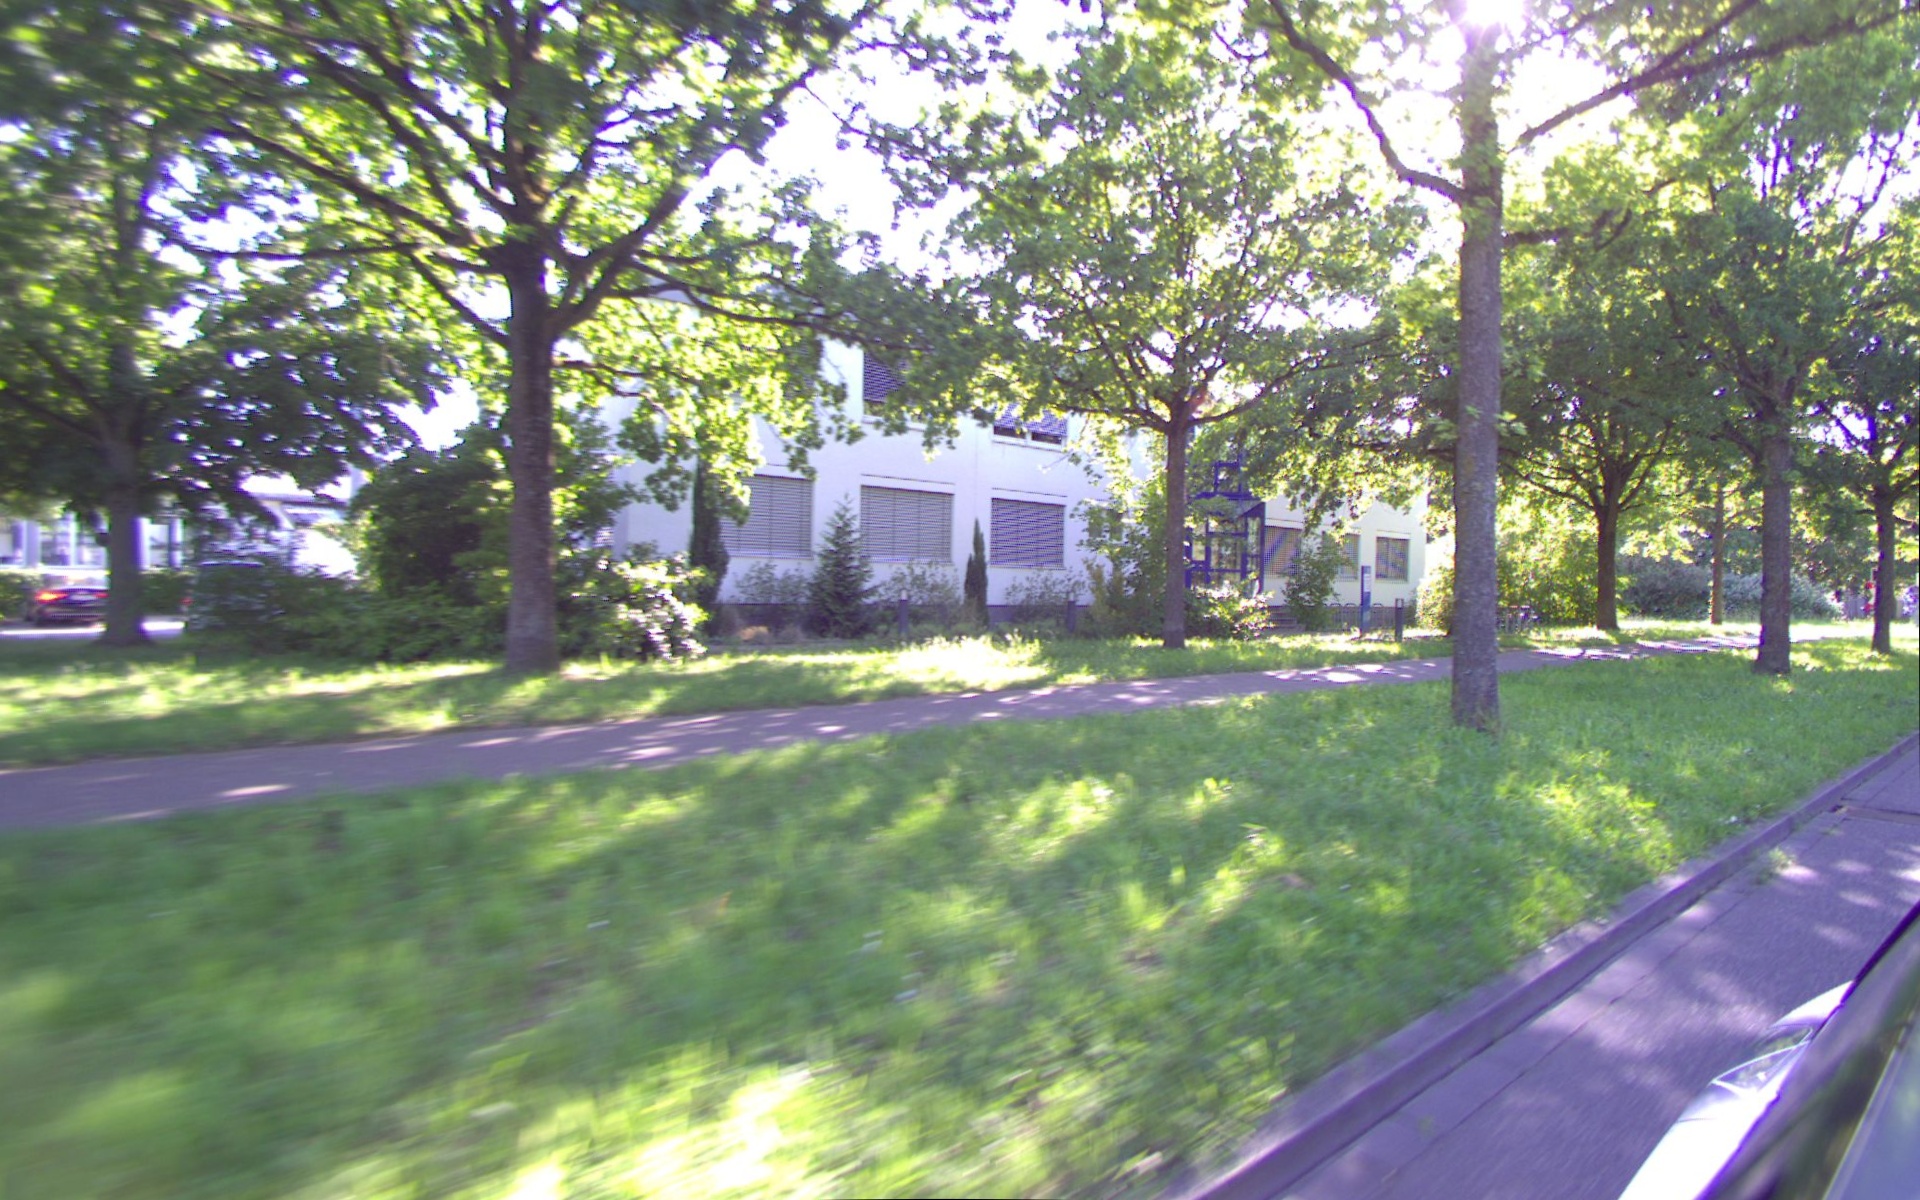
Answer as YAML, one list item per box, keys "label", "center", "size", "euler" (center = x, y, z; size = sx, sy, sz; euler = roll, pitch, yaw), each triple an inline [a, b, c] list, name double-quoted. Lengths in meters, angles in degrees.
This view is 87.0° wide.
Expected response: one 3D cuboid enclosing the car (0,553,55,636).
- label: "car"
  center: [-16.474, -0.135, 17.243]
  size: [1.401, 1.309, 3.409]
  euler: [0, 1, -39]
